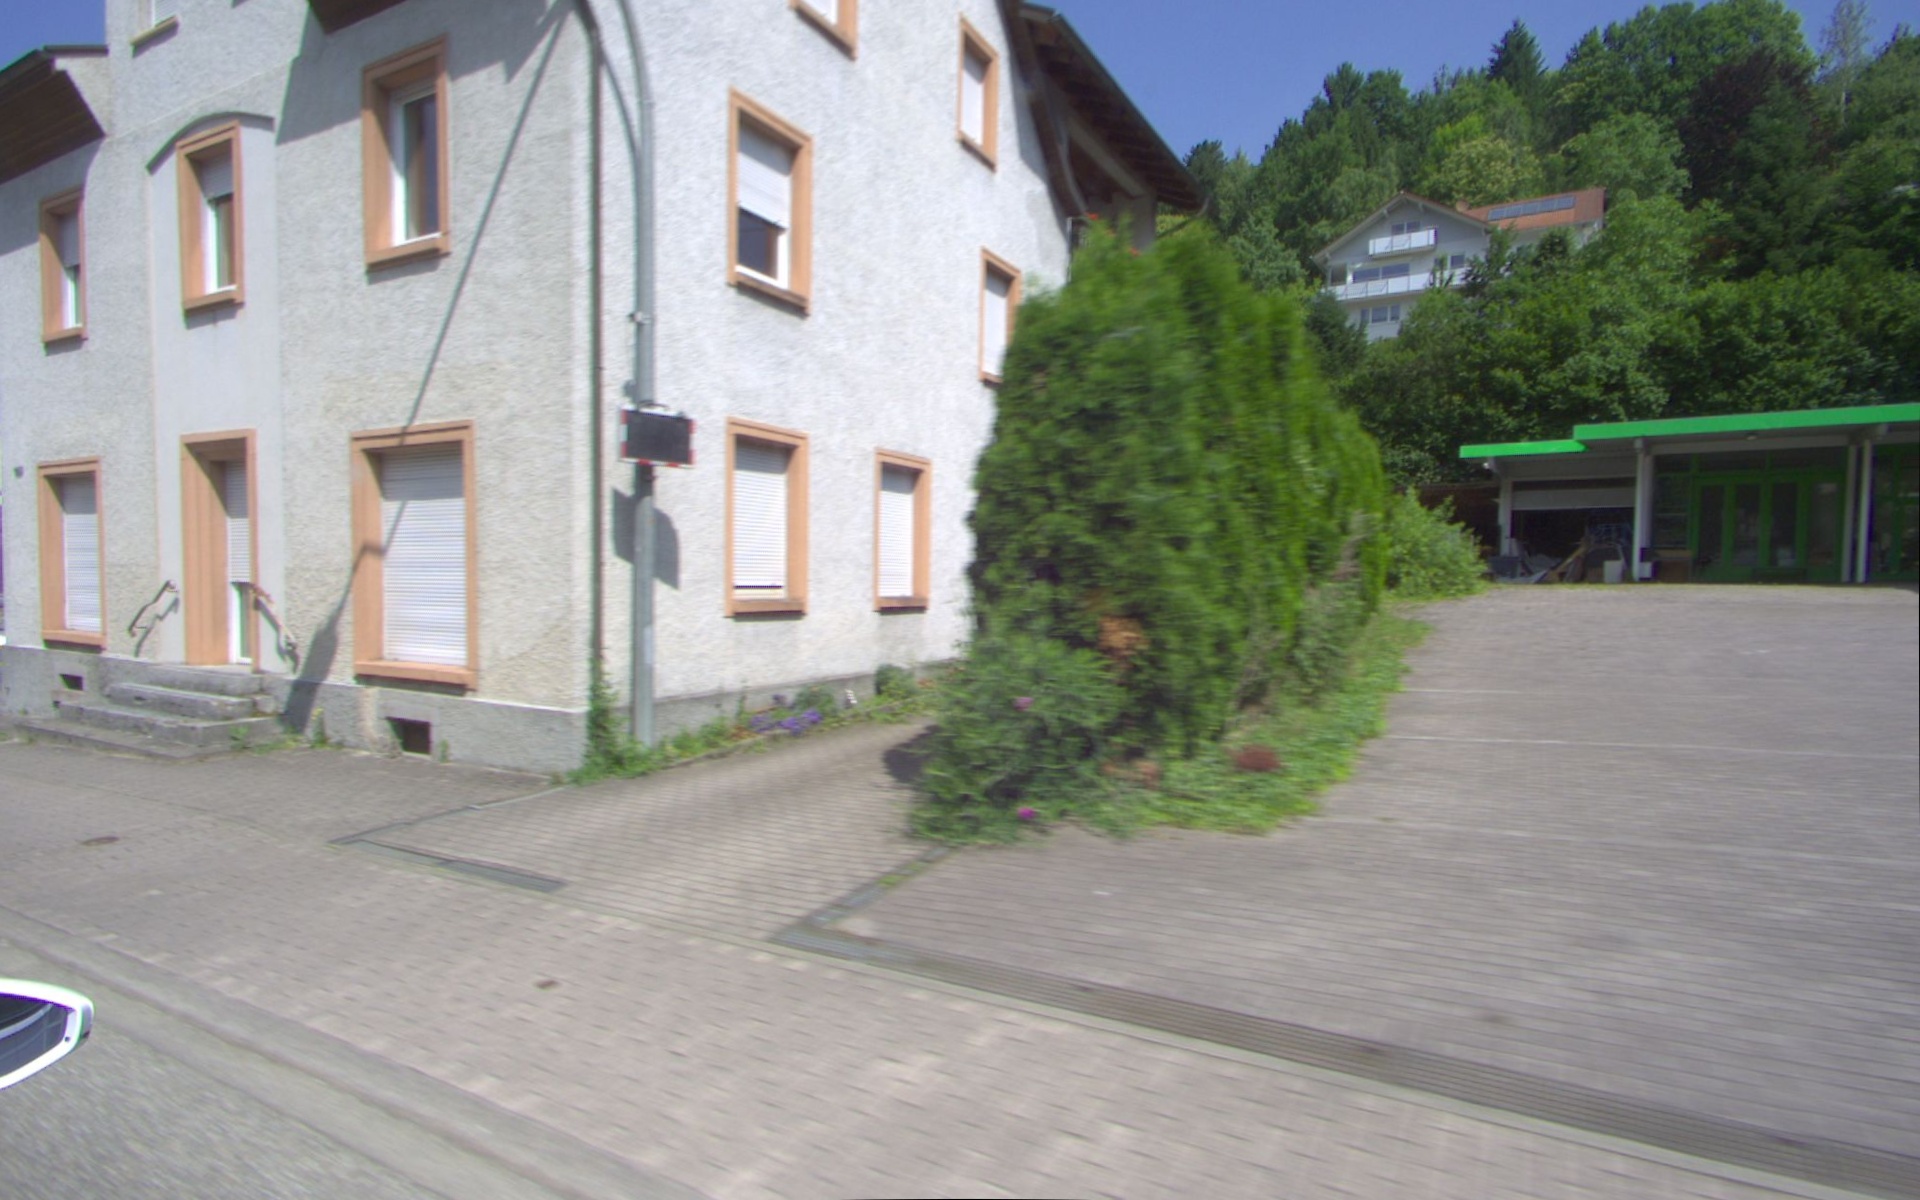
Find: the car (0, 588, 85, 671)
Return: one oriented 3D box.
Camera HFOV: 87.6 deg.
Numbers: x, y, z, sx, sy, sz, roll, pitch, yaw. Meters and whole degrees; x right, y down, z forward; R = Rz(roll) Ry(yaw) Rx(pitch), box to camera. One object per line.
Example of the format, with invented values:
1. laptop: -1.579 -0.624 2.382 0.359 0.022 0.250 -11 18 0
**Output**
1. car: -18.850 0.585 18.422 3.708 1.447 1.606 -3 3 -15
